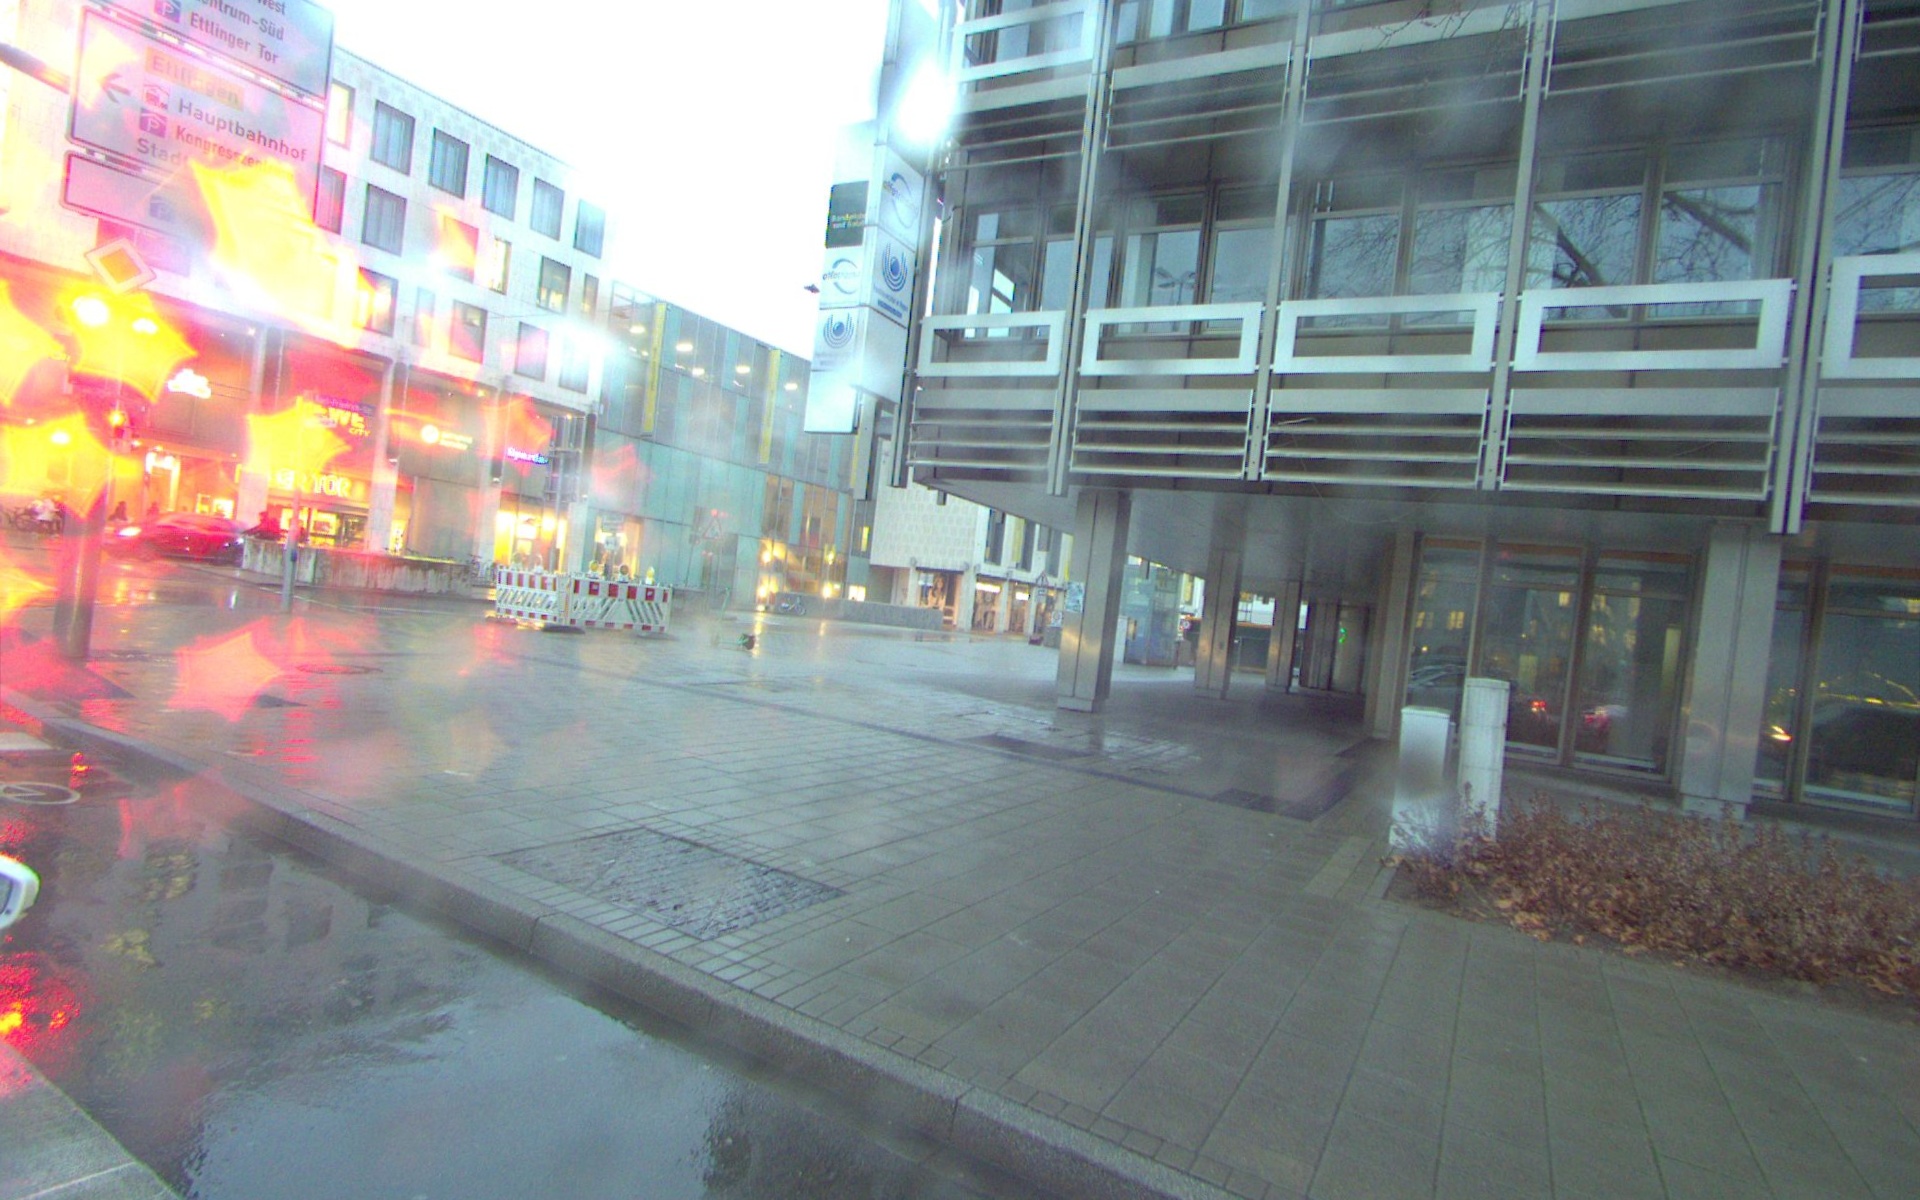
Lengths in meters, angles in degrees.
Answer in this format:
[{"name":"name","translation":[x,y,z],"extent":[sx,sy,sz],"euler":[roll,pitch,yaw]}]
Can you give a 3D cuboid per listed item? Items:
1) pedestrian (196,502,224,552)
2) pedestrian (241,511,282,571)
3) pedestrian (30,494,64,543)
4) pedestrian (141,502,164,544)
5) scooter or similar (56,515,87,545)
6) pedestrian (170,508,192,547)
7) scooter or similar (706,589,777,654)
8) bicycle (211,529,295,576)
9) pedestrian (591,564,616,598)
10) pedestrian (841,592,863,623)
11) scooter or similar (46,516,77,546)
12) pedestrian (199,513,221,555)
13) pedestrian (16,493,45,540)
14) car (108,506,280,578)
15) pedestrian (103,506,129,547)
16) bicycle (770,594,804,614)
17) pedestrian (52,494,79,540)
[{"name":"pedestrian","translation":[-27.015,-2.614,36.253],"extent":[0.529,1.706,0.546],"euler":[6,1,-21]},{"name":"pedestrian","translation":[-20.140,-1.713,29.019],"extent":[0.778,1.615,0.605],"euler":[6,1,-43]},{"name":"pedestrian","translation":[-34.023,-3.037,37.497],"extent":[0.394,1.688,0.742],"euler":[7,1,32]},{"name":"pedestrian","translation":[-35.379,-3.368,44.077],"extent":[0.529,1.739,0.500],"euler":[6,1,-21]},{"name":"scooter or similar","translation":[-33.686,-2.657,38.141],"extent":[0.394,1.005,0.742],"euler":[7,0,32]},{"name":"pedestrian","translation":[-36.188,-3.367,46.730],"extent":[0.529,1.739,0.500],"euler":[6,1,-21]},{"name":"scooter or similar","translation":[-4.393,0.427,20.243],"extent":[1.215,1.144,0.606],"euler":[7,0,32]},{"name":"bicycle","translation":[-20.316,-1.352,28.934],"extent":[1.839,1.107,0.610],"euler":[7,0,-44]},{"name":"pedestrian","translation":[-18.336,-0.970,51.760],"extent":[0.697,1.650,0.795],"euler":[6,-1,31]},{"name":"pedestrian","translation":[-7.816,0.544,72.764],"extent":[1.006,2.037,0.906],"euler":[6,-1,31]},{"name":"scooter or similar","translation":[-33.869,-2.593,37.917],"extent":[0.394,1.005,0.741],"euler":[7,0,33]},{"name":"pedestrian","translation":[-32.677,-2.868,43.827],"extent":[0.368,1.782,0.512],"euler":[7,1,31]},{"name":"pedestrian","translation":[-35.666,-3.200,38.601],"extent":[0.529,1.739,0.500],"euler":[6,1,-21]},{"name":"car","translation":[-22.443,-1.663,29.606],"extent":[1.648,1.601,3.575],"euler":[6,-1,29]},{"name":"pedestrian","translation":[-33.778,-2.927,40.273],"extent":[0.529,1.562,0.500],"euler":[6,1,-21]},{"name":"bicycle","translation":[-10.623,0.241,61.803],"extent":[2.101,1.046,0.616],"euler":[6,0,33]},{"name":"pedestrian","translation":[-35.179,-3.262,39.569],"extent":[0.529,1.739,0.500],"euler":[6,1,-21]}]
